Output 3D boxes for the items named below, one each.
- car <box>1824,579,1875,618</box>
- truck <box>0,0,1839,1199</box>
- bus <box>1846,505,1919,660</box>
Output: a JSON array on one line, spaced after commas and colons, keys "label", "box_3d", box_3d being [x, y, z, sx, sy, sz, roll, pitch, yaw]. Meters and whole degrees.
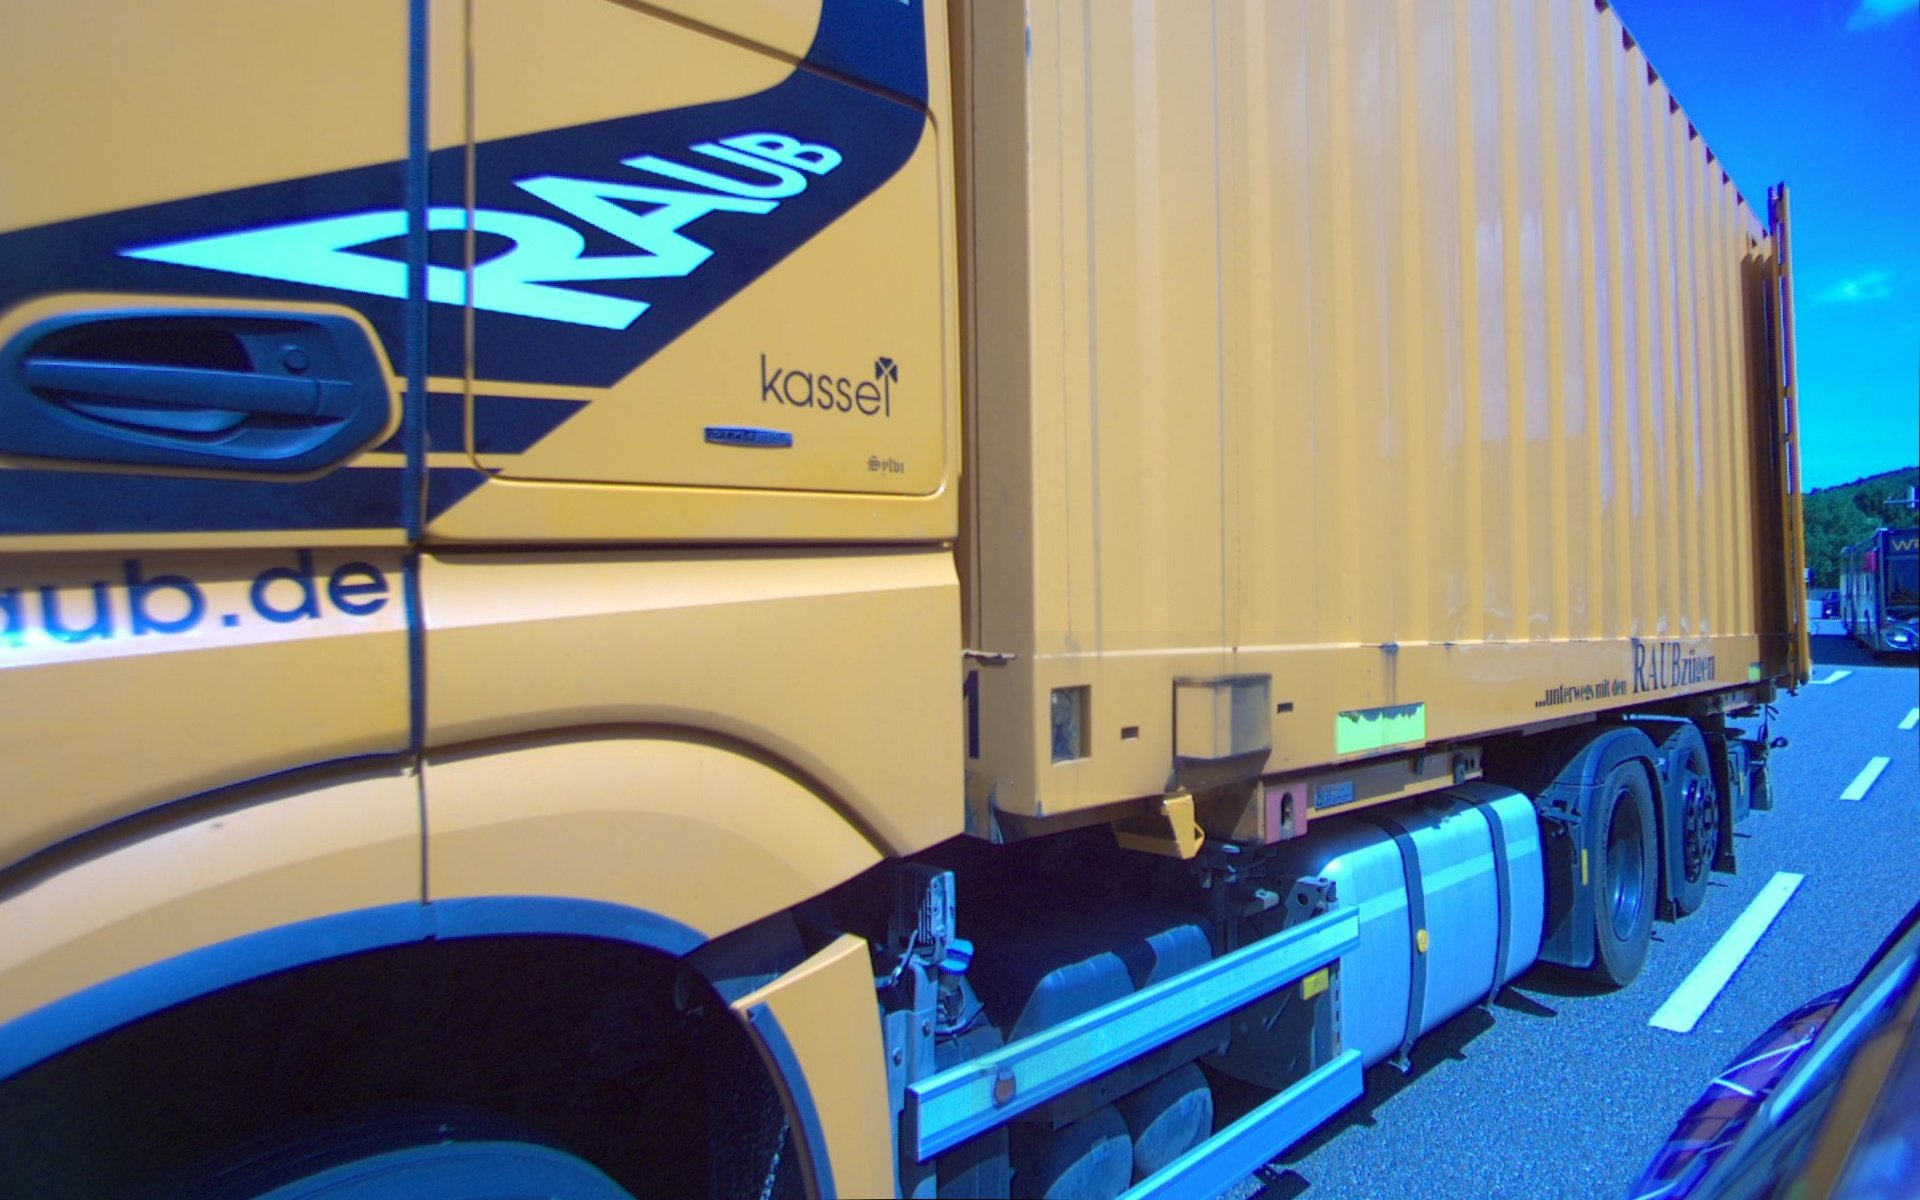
[{"label": "car", "box_3d": [44.149, -0.116, 50.303, 1.781, 1.852, 4.289, 2, 2, 40]}, {"label": "truck", "box_3d": [1.100, -0.482, 4.282, 9.819, 3.997, 2.611, 1, -3, -42]}, {"label": "bus", "box_3d": [26.664, -0.502, 27.876, 2.847, 3.245, 18.760, 0, 1, 40]}]
